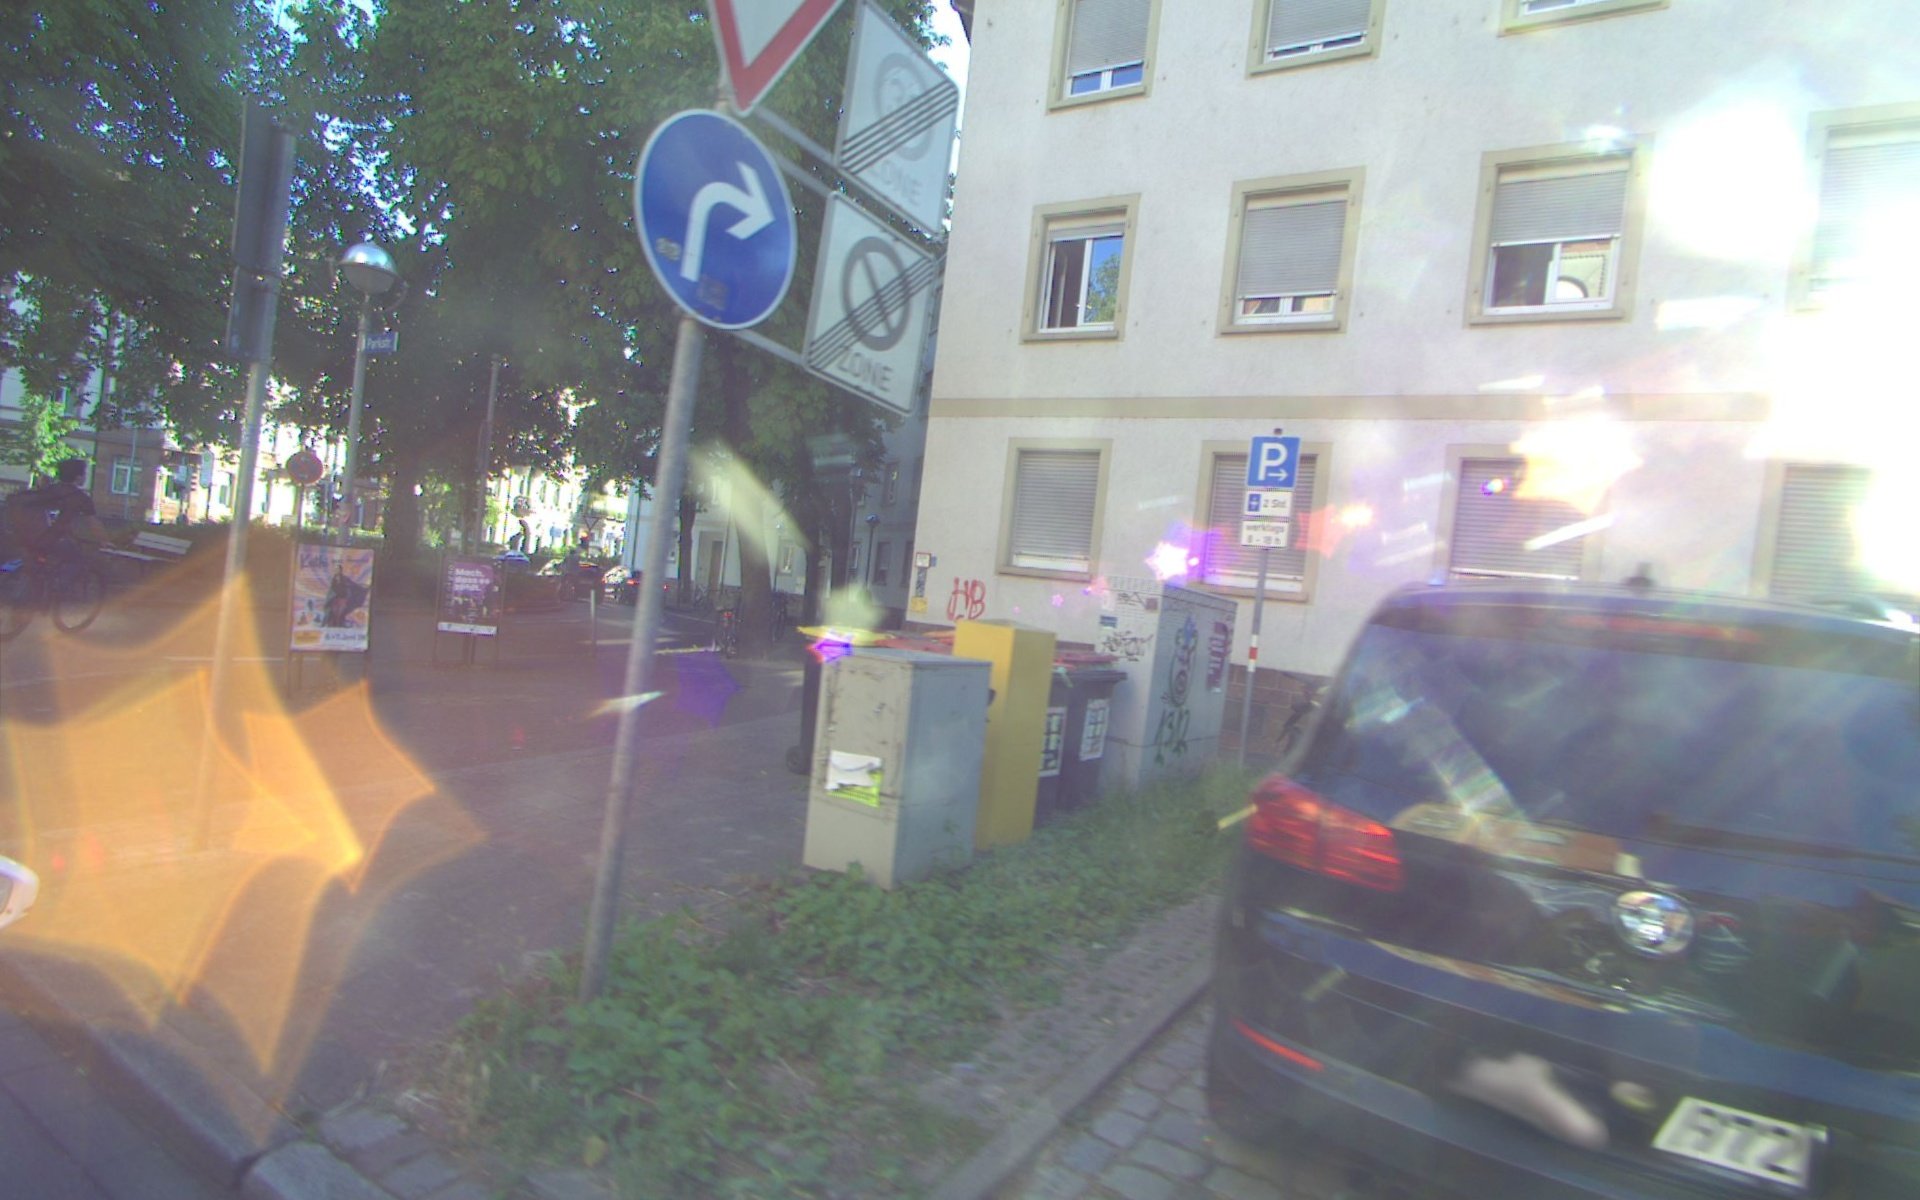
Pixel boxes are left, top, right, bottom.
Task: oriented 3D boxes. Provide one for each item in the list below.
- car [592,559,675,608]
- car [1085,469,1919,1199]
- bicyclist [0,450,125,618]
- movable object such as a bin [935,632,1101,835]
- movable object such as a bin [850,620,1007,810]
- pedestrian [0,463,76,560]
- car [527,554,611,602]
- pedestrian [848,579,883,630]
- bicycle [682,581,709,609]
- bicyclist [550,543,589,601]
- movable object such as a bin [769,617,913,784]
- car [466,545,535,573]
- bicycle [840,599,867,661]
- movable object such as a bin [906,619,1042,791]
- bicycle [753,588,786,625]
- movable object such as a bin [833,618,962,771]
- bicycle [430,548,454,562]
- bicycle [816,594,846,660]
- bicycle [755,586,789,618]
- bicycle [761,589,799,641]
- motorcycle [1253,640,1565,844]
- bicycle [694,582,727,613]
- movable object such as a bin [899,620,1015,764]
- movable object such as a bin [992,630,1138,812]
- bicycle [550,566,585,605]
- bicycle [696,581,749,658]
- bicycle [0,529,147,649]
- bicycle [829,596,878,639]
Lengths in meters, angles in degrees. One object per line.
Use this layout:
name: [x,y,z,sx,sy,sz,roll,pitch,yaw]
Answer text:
car: [-13.459,-0.693,41.382,1.882,1.597,3.958,6,0,-38]
car: [2.158,0.780,3.506,1.989,1.735,4.112,8,2,27]
bicyclist: [-9.049,-0.639,10.037,0.663,1.533,1.065,5,0,-18]
movable object such as a bin: [0.393,0.844,6.637,0.704,1.167,0.738,7,1,32]
movable object such as a bin: [-0.210,0.775,7.041,0.690,1.167,0.738,7,1,32]
pedestrian: [-17.588,-1.684,19.182,0.769,1.705,0.914,8,2,42]
car: [-15.137,-0.869,38.843,1.804,1.563,3.914,4,1,-40]
pedestrian: [-3.541,0.161,37.522,0.985,1.818,0.655,4,2,-26]
bicycle: [-11.055,-0.233,42.004,0.515,1.011,2.175,6,0,-29]
bicyclist: [-13.635,-0.981,35.099,0.845,1.923,1.128,5,2,-36]
movable object such as a bin: [-0.866,0.717,7.374,0.683,1.078,0.657,7,1,32]
car: [-31.369,-2.771,68.766,1.962,1.516,4.373,7,2,12]
bicycle: [-2.128,0.576,19.997,0.385,1.123,1.800,6,0,-7]
movable object such as a bin: [0.112,0.779,7.690,0.690,1.167,0.632,7,1,32]
bicycle: [-6.532,0.222,34.385,0.609,1.128,1.979,2,2,-25]
movable object such as a bin: [-0.496,0.737,8.060,0.694,1.089,0.629,7,1,32]
bicycle: [-36.390,-3.154,70.644,0.442,0.872,1.445,7,0,27]
bicycle: [-2.535,0.508,19.876,0.431,1.195,1.783,6,0,-6]
bicycle: [-7.789,0.077,41.562,0.577,1.128,2.099,5,1,-32]
bicycle: [-4.477,0.360,25.119,0.669,1.173,1.999,5,0,-5]
motorcycle: [3.714,1.115,8.497,2.143,1.296,0.977,7,1,24]
bicycle: [-10.119,-0.104,40.731,0.611,1.072,1.910,4,2,-34]
movable object such as a bin: [-0.020,0.765,8.539,0.662,1.097,0.591,7,1,31]
movable object such as a bin: [0.779,0.856,7.362,0.690,1.167,0.738,7,1,32]
bicycle: [-13.703,-0.524,35.108,0.594,1.176,2.023,6,1,-34]
bicycle: [-4.031,0.311,17.166,0.545,1.197,1.788,6,0,-6]
bicycle: [-9.127,-0.122,10.150,0.666,1.067,2.054,6,-1,-18]
bicycle: [-3.257,0.512,30.581,0.666,1.197,1.806,3,0,-34]
